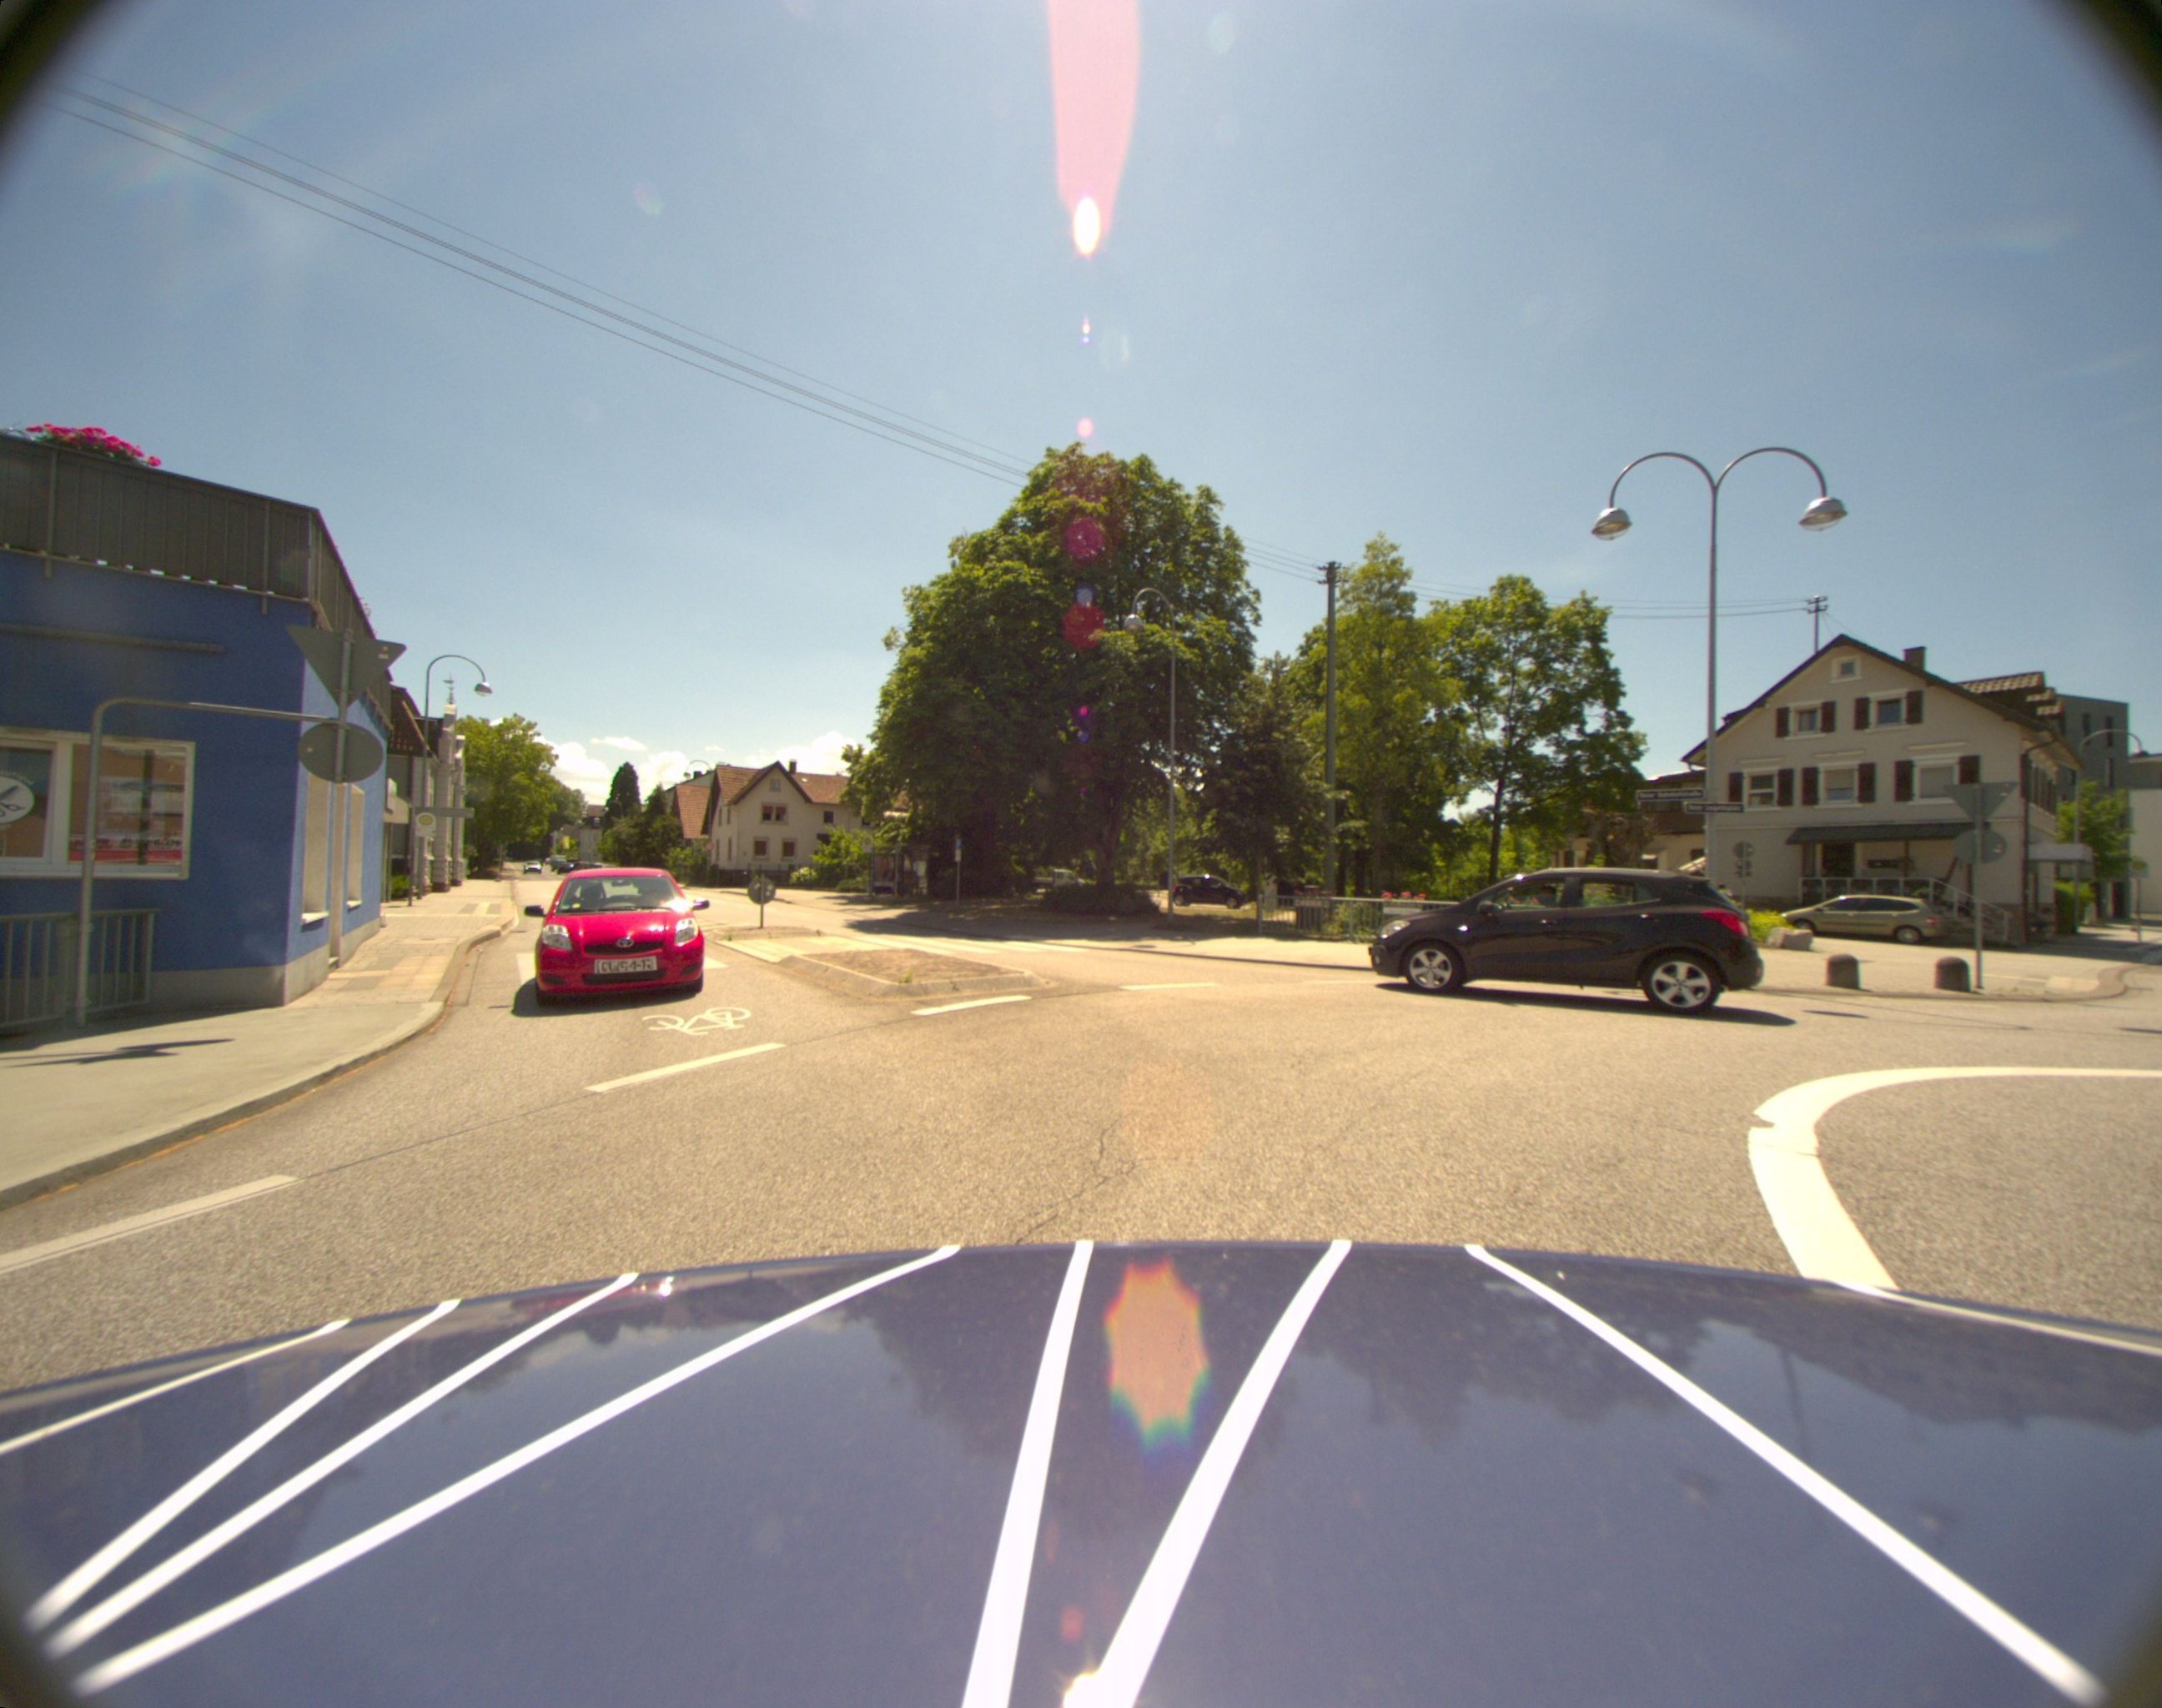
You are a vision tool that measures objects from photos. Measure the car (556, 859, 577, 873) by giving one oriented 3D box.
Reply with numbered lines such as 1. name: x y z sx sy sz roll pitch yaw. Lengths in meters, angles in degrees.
1. car: -65.180 1.569 96.286 1.744 1.695 3.990 1 -3 -40

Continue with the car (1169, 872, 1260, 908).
1. car: 6.470 1.705 36.671 3.990 1.592 1.846 1 -1 22

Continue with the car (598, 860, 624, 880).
1. car: -51.474 1.799 83.196 2.005 2.000 3.990 3 -4 -38

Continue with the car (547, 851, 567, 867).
1. car: -76.295 0.746 110.615 2.005 2.000 3.990 4 -4 -41

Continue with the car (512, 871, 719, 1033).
1. car: -5.975 1.022 9.719 1.838 1.524 3.990 -1 0 -34

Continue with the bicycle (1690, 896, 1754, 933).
1. bicycle: 23.805 2.225 28.266 0.810 1.149 1.852 5 2 4

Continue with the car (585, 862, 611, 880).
1. car: -58.322 2.083 91.731 2.005 2.000 3.990 4 -4 -41

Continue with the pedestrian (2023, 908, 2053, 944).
1. pedestrian: 35.584 2.665 28.254 0.582 1.278 0.683 2 -1 -38

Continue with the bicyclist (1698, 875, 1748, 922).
1. bicyclist: 23.856 1.639 28.256 0.809 1.626 1.062 5 2 5

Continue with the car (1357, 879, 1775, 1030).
1. car: 5.993 1.172 9.852 4.155 1.551 2.006 -2 -6 34

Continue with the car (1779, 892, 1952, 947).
1. car: 27.947 2.274 27.186 1.798 1.586 3.989 3 -1 -33

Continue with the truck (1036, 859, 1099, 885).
1. truck: -1.433 1.861 77.793 6.217 2.427 2.265 1 -3 -5

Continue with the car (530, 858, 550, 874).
1. car: -71.624 1.622 100.581 2.005 2.000 3.990 3 -4 -38
